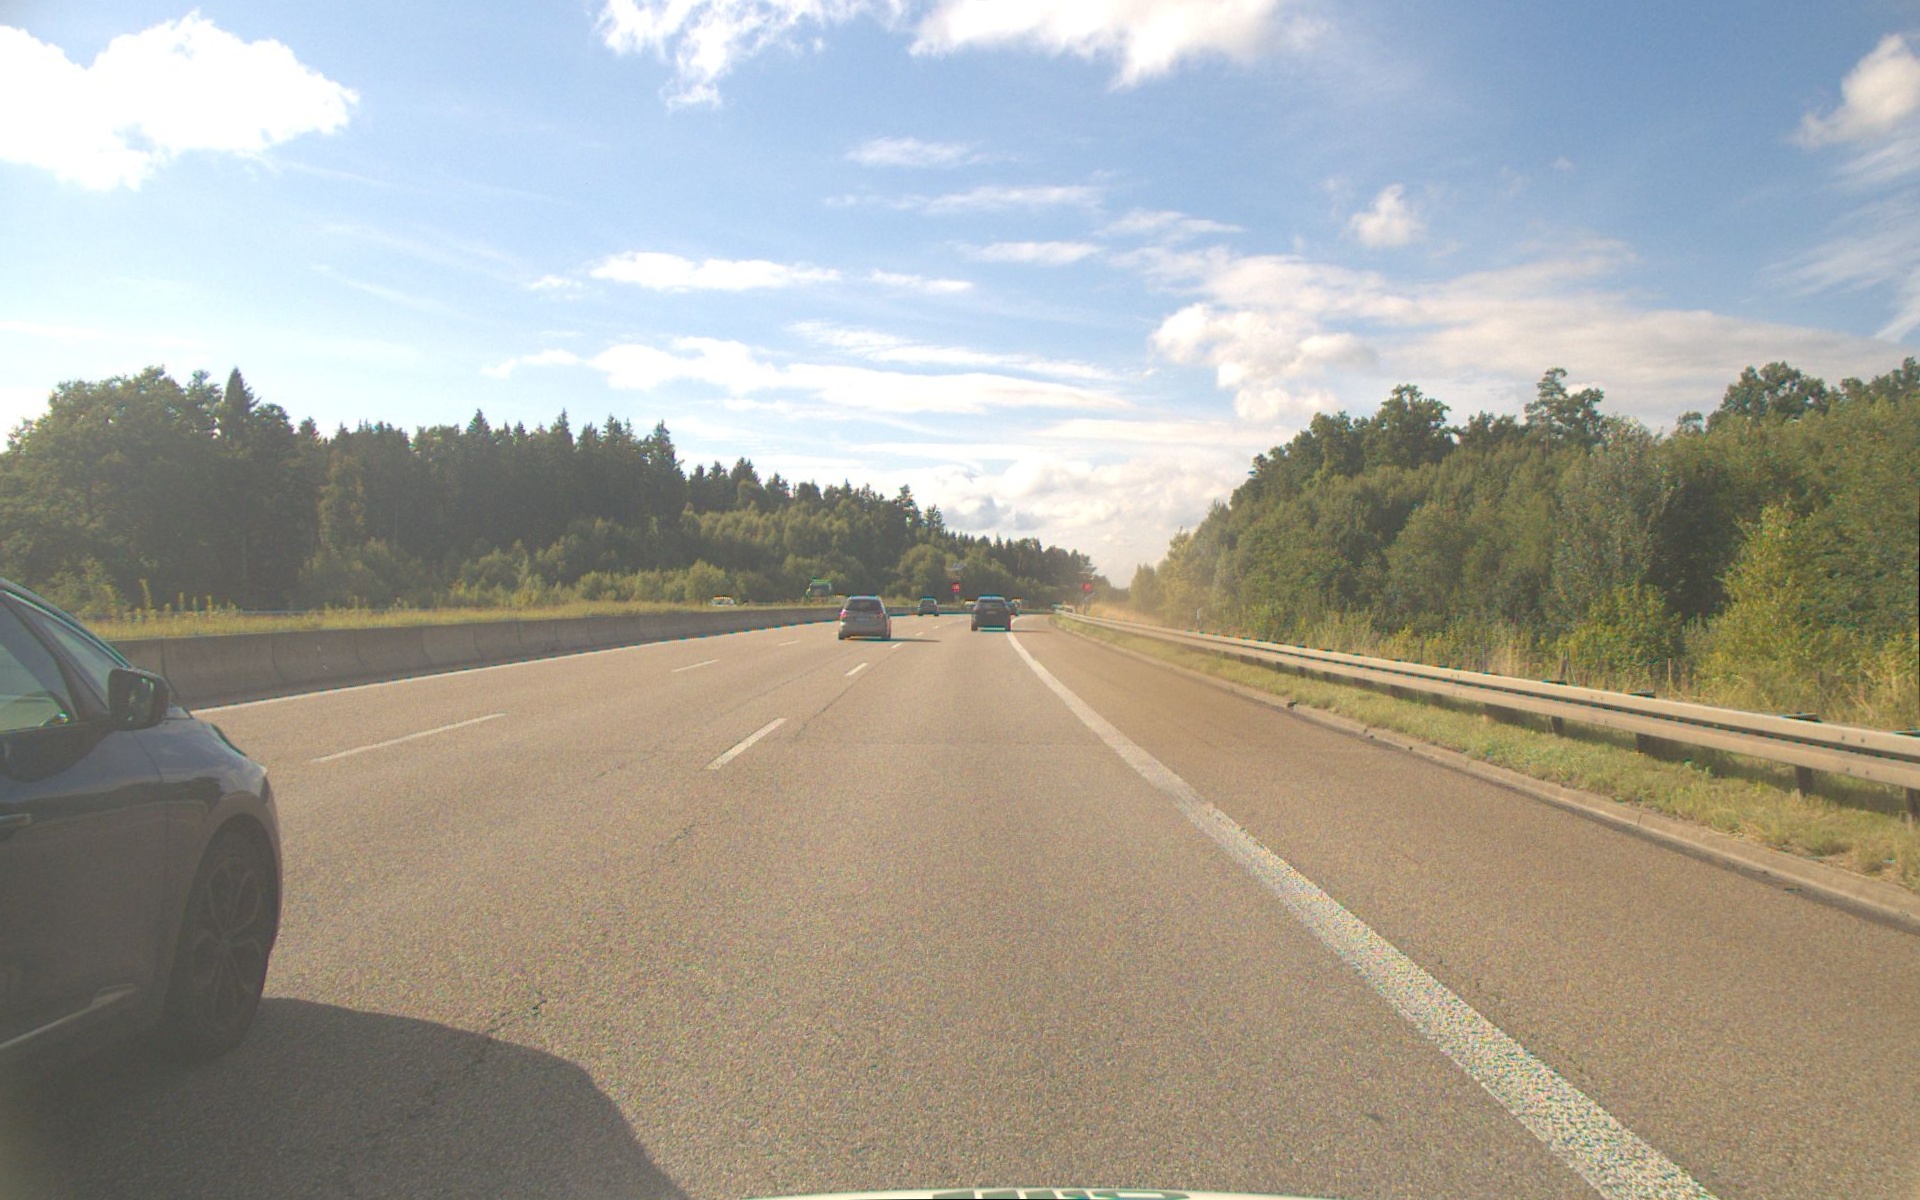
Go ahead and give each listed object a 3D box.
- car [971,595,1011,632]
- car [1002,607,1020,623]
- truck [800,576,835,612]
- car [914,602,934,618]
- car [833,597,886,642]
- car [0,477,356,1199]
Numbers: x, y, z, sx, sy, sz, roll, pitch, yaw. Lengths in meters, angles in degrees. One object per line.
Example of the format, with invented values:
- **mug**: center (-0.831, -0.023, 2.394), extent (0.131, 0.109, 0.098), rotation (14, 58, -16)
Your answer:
- **car**: center (1.487, 0.631, 80.190), extent (1.835, 1.704, 3.889), rotation (1, 0, 0)
- **car**: center (5.723, 1.676, 186.153), extent (1.774, 1.736, 4.002), rotation (0, 0, 5)
- **truck**: center (-16.591, -0.719, 193.308), extent (3.305, 4.079, 5.865), rotation (1, 0, 2)
- **car**: center (-3.470, 0.946, 159.983), extent (1.835, 1.523, 3.879), rotation (1, 0, -1)
- **car**: center (-3.633, 0.678, 60.055), extent (1.836, 1.523, 3.877), rotation (1, 0, -3)
- **car**: center (-3.185, 0.578, 3.958), extent (1.953, 1.736, 4.527), rotation (1, 0, -2)
